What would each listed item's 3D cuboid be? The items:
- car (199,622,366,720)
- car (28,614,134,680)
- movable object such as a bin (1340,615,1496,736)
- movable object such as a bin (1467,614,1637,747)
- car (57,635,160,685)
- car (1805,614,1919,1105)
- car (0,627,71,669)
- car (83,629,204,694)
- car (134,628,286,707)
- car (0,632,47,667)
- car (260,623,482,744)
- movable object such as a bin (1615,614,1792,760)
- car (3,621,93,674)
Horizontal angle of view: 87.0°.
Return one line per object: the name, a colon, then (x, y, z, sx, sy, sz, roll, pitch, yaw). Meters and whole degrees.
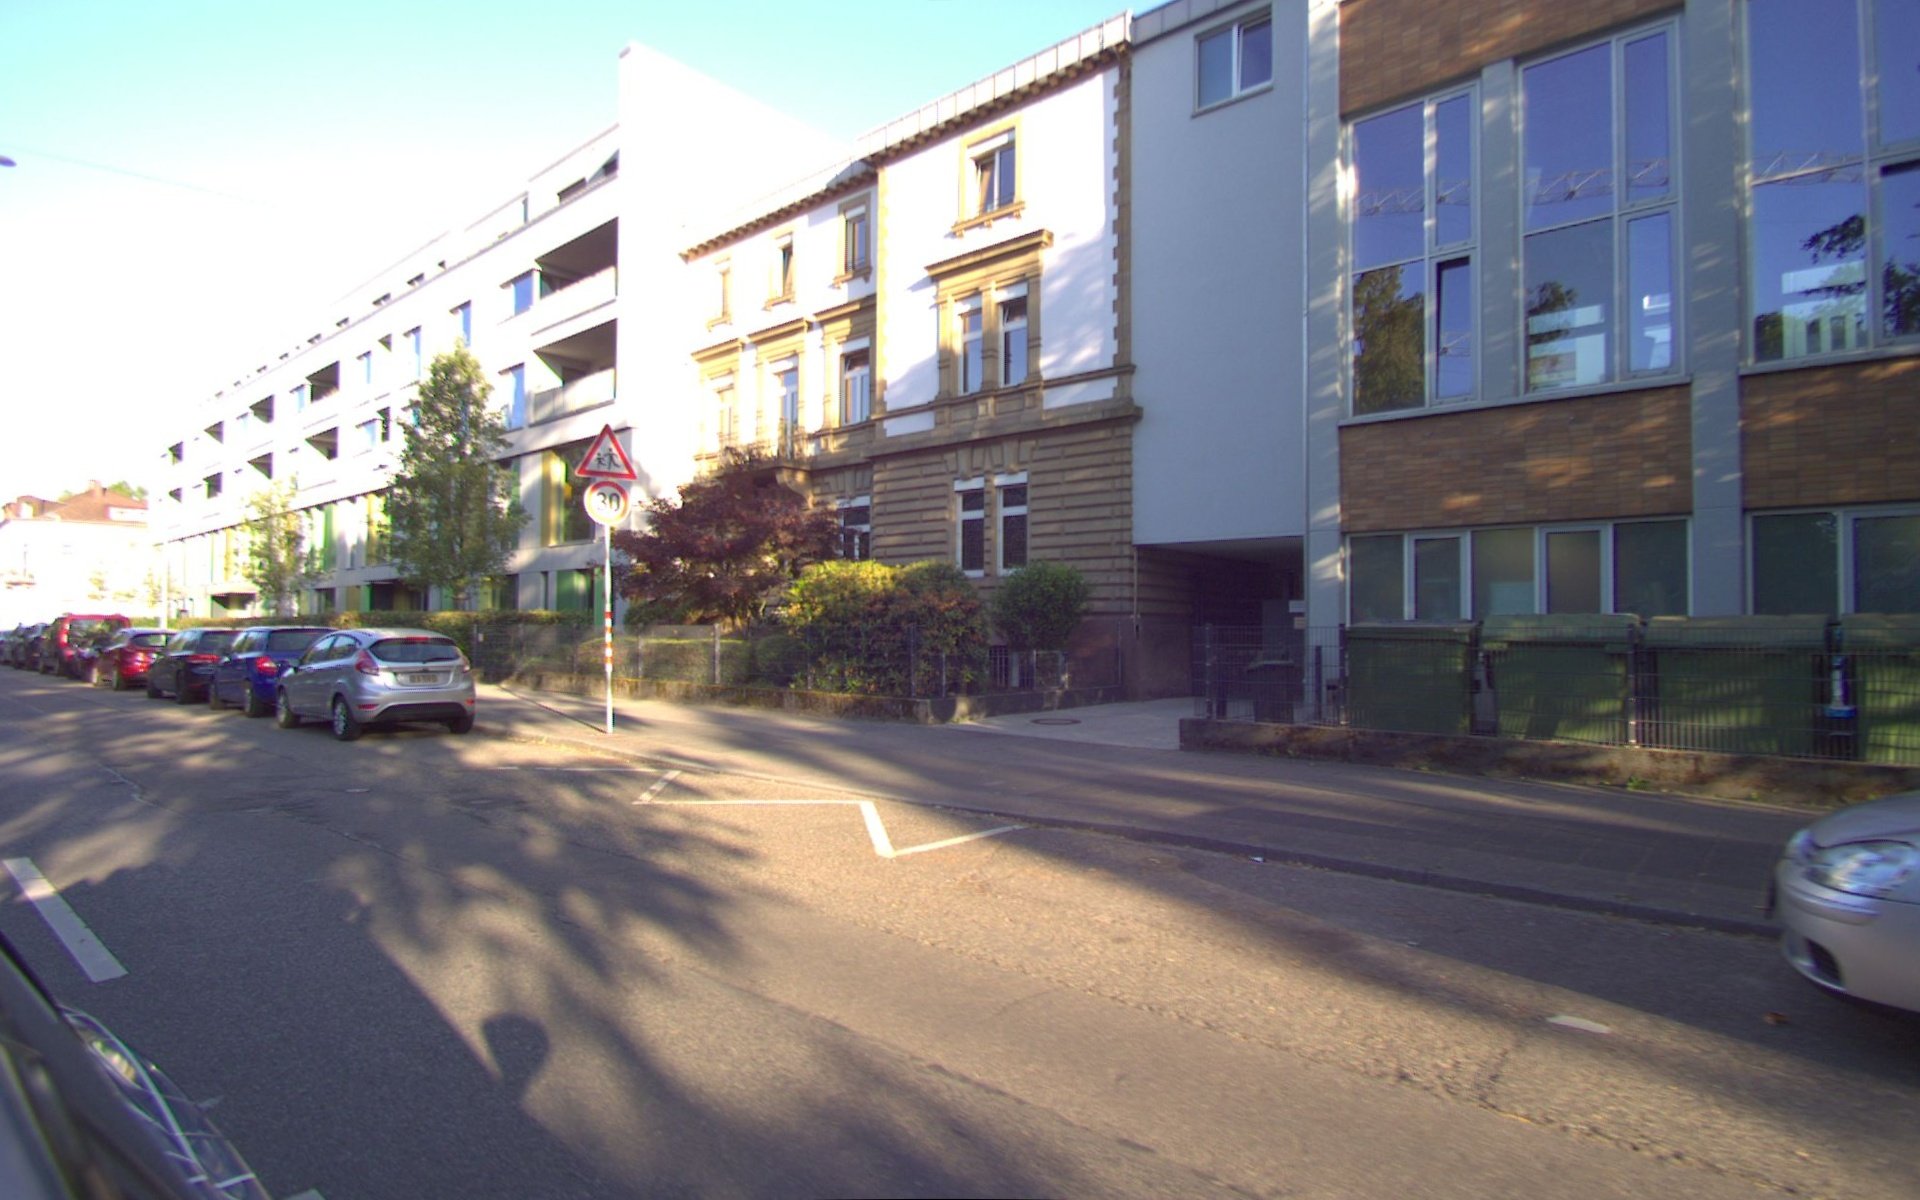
car: (-11.875, 1.201, 17.657, 3.787, 1.519, 1.581, -2, -4, 43)
car: (-27.207, 1.459, 31.277, 4.235, 1.904, 1.789, -2, -4, 40)
movable object such as a bin: (5.860, 0.925, 12.977, 1.519, 1.441, 1.086, -2, -2, 45)
movable object such as a bin: (6.942, 0.903, 11.897, 1.486, 1.441, 1.086, -2, -2, 45)
car: (-23.443, 1.633, 27.826, 3.730, 1.290, 1.540, -2, -4, 40)
car: (4.830, 0.786, 2.555, 4.060, 1.505, 1.653, -2, -4, 42)
car: (-35.596, 1.816, 38.744, 4.111, 1.545, 1.724, -2, -2, 39)
car: (-20.059, 1.456, 24.810, 3.859, 1.466, 1.582, -1, -3, 40)
car: (-15.425, 1.347, 20.741, 4.052, 1.466, 1.582, -2, -4, 40)
car: (-39.038, 1.994, 41.580, 4.394, 1.367, 1.723, -1, -3, 41)
car: (-8.522, 1.131, 14.532, 3.770, 1.505, 1.584, -2, -4, 41)
movable object such as a bin: (7.980, 0.882, 10.874, 1.373, 1.441, 1.086, -2, -2, 45)
car: (-31.373, 1.589, 34.764, 4.413, 1.689, 1.724, -1, -2, 40)
